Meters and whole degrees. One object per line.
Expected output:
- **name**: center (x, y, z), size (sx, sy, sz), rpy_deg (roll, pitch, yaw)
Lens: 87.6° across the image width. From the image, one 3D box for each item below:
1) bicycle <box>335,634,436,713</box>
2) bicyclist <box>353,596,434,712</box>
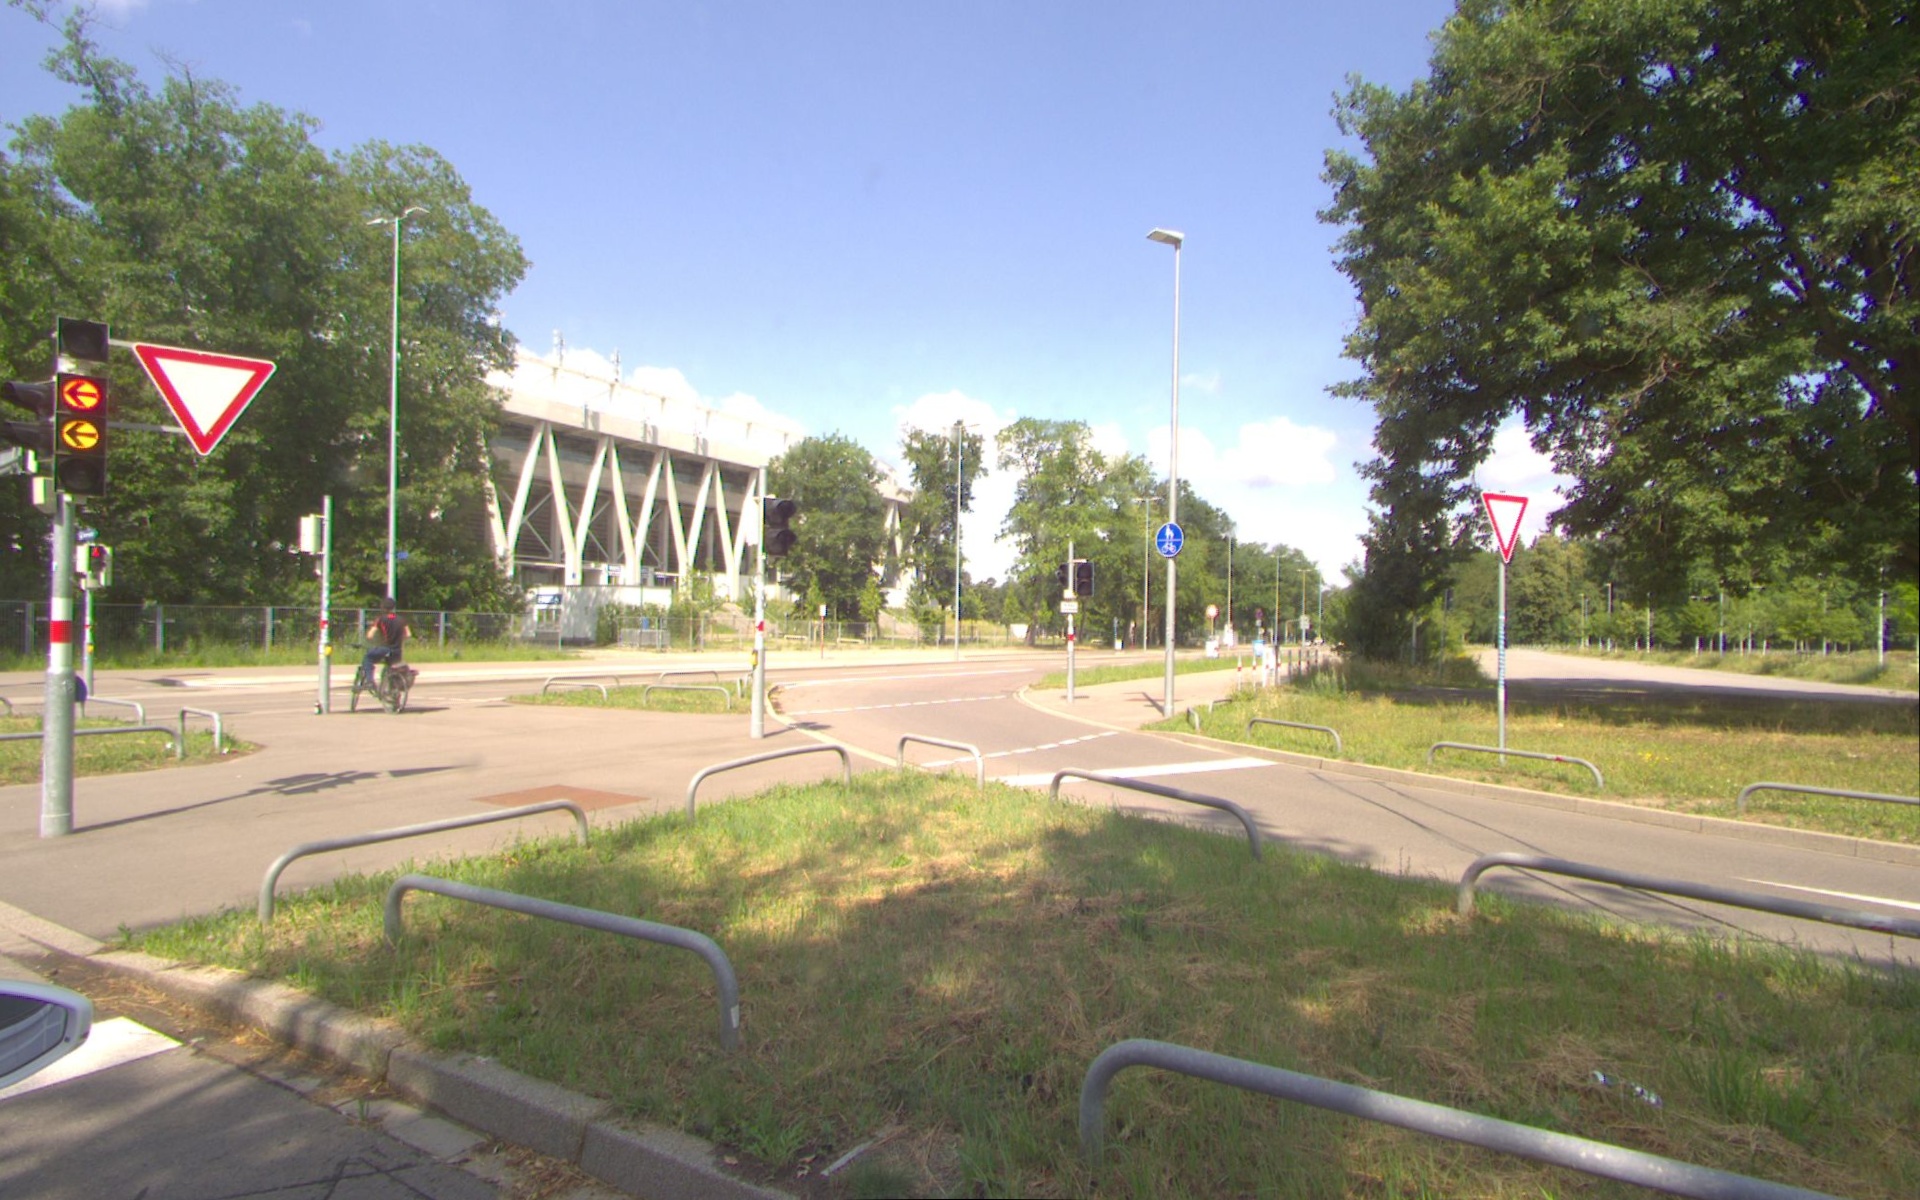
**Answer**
- **bicycle**: center (-9.532, 1.190, 16.592), size (1.876, 1.221, 0.876), rpy_deg (-2, -3, 42)
- **bicyclist**: center (-9.277, 0.879, 16.400), size (0.967, 1.820, 0.881), rpy_deg (-1, -2, 40)
